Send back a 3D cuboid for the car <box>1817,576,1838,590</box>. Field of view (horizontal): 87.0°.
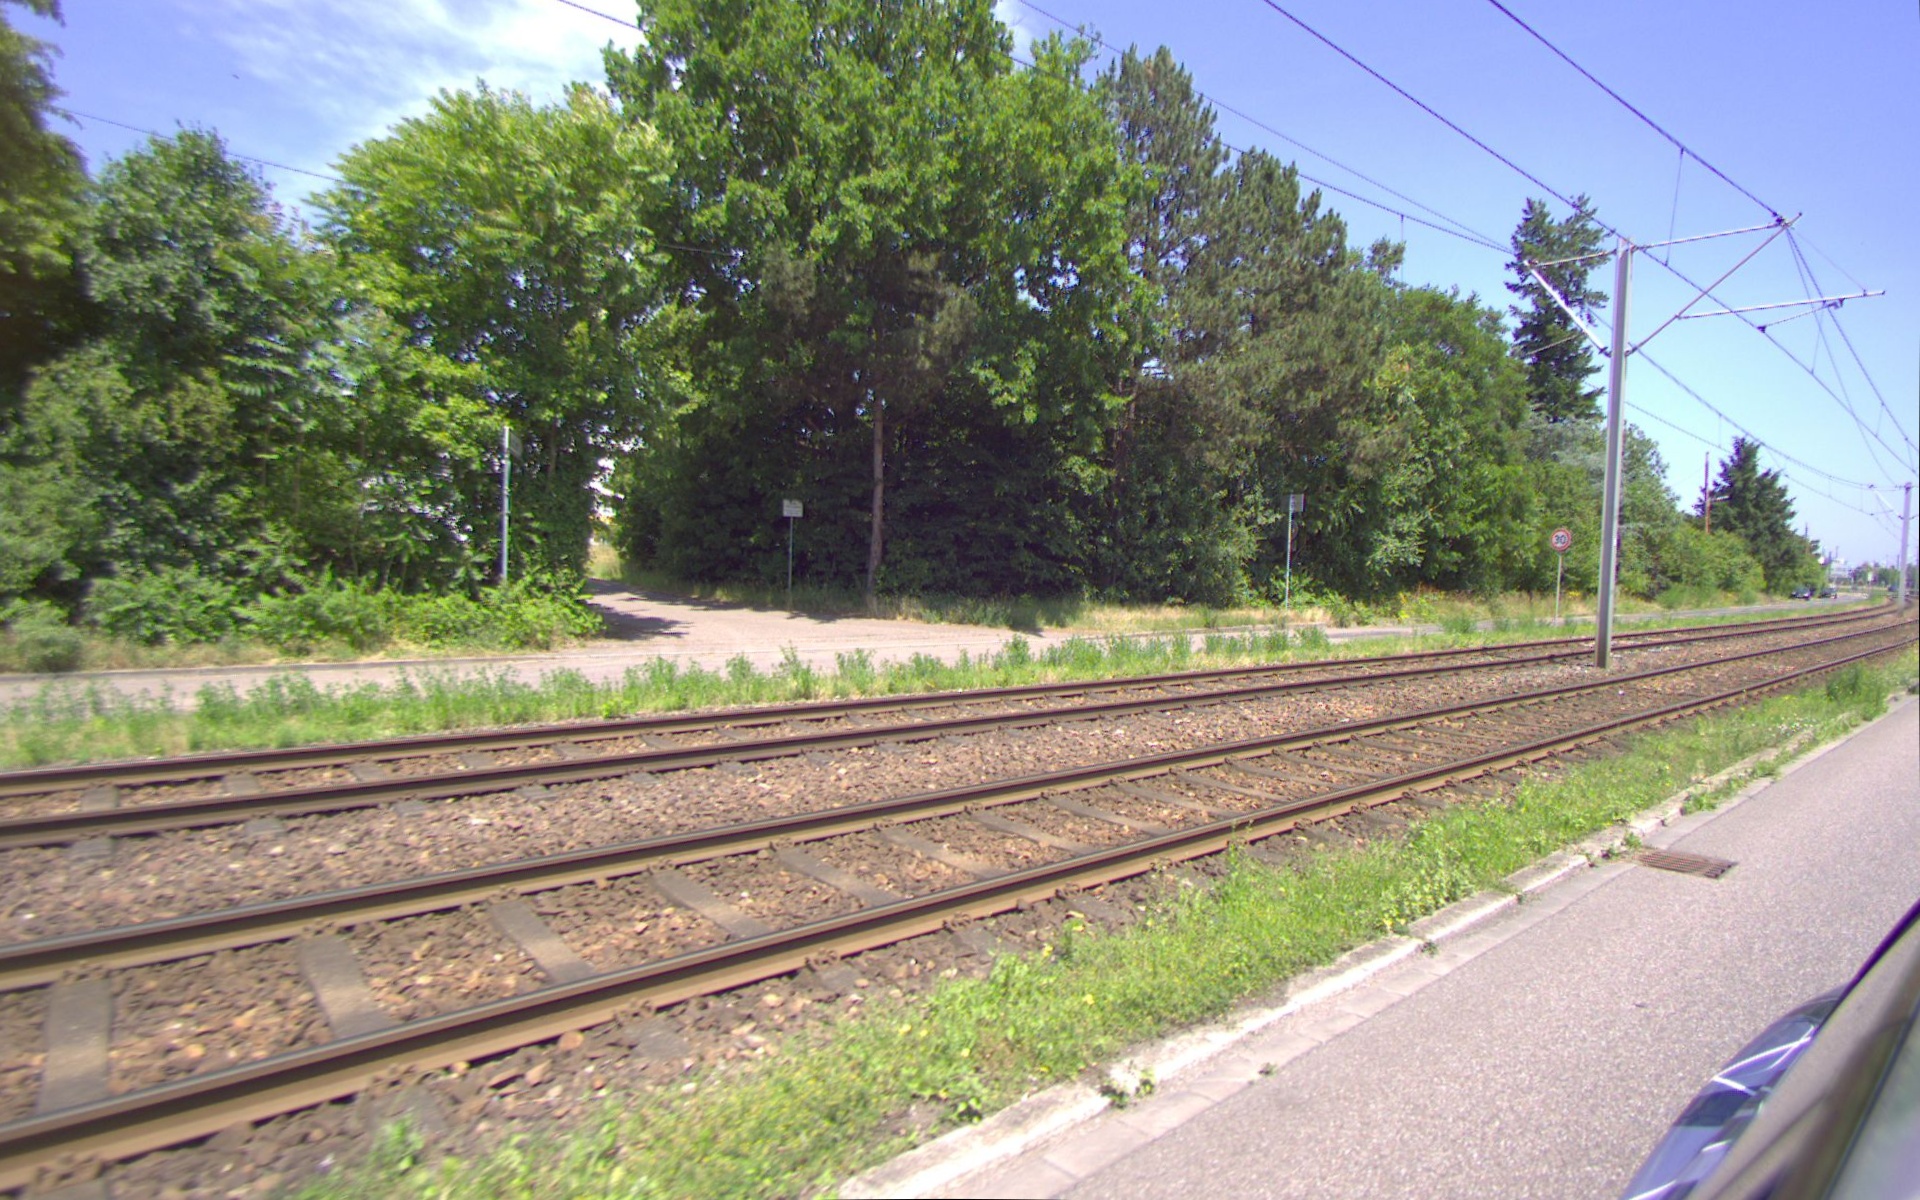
[{"bbox_3d":[111.587,-2.181,130.128,1.940,1.716,3.939,-1,1,43],"label":"car"}]

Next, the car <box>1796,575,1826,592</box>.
[{"bbox_3d":[91.494,-1.761,108.743,3.933,1.742,1.995,-2,1,-43],"label":"car"}]
